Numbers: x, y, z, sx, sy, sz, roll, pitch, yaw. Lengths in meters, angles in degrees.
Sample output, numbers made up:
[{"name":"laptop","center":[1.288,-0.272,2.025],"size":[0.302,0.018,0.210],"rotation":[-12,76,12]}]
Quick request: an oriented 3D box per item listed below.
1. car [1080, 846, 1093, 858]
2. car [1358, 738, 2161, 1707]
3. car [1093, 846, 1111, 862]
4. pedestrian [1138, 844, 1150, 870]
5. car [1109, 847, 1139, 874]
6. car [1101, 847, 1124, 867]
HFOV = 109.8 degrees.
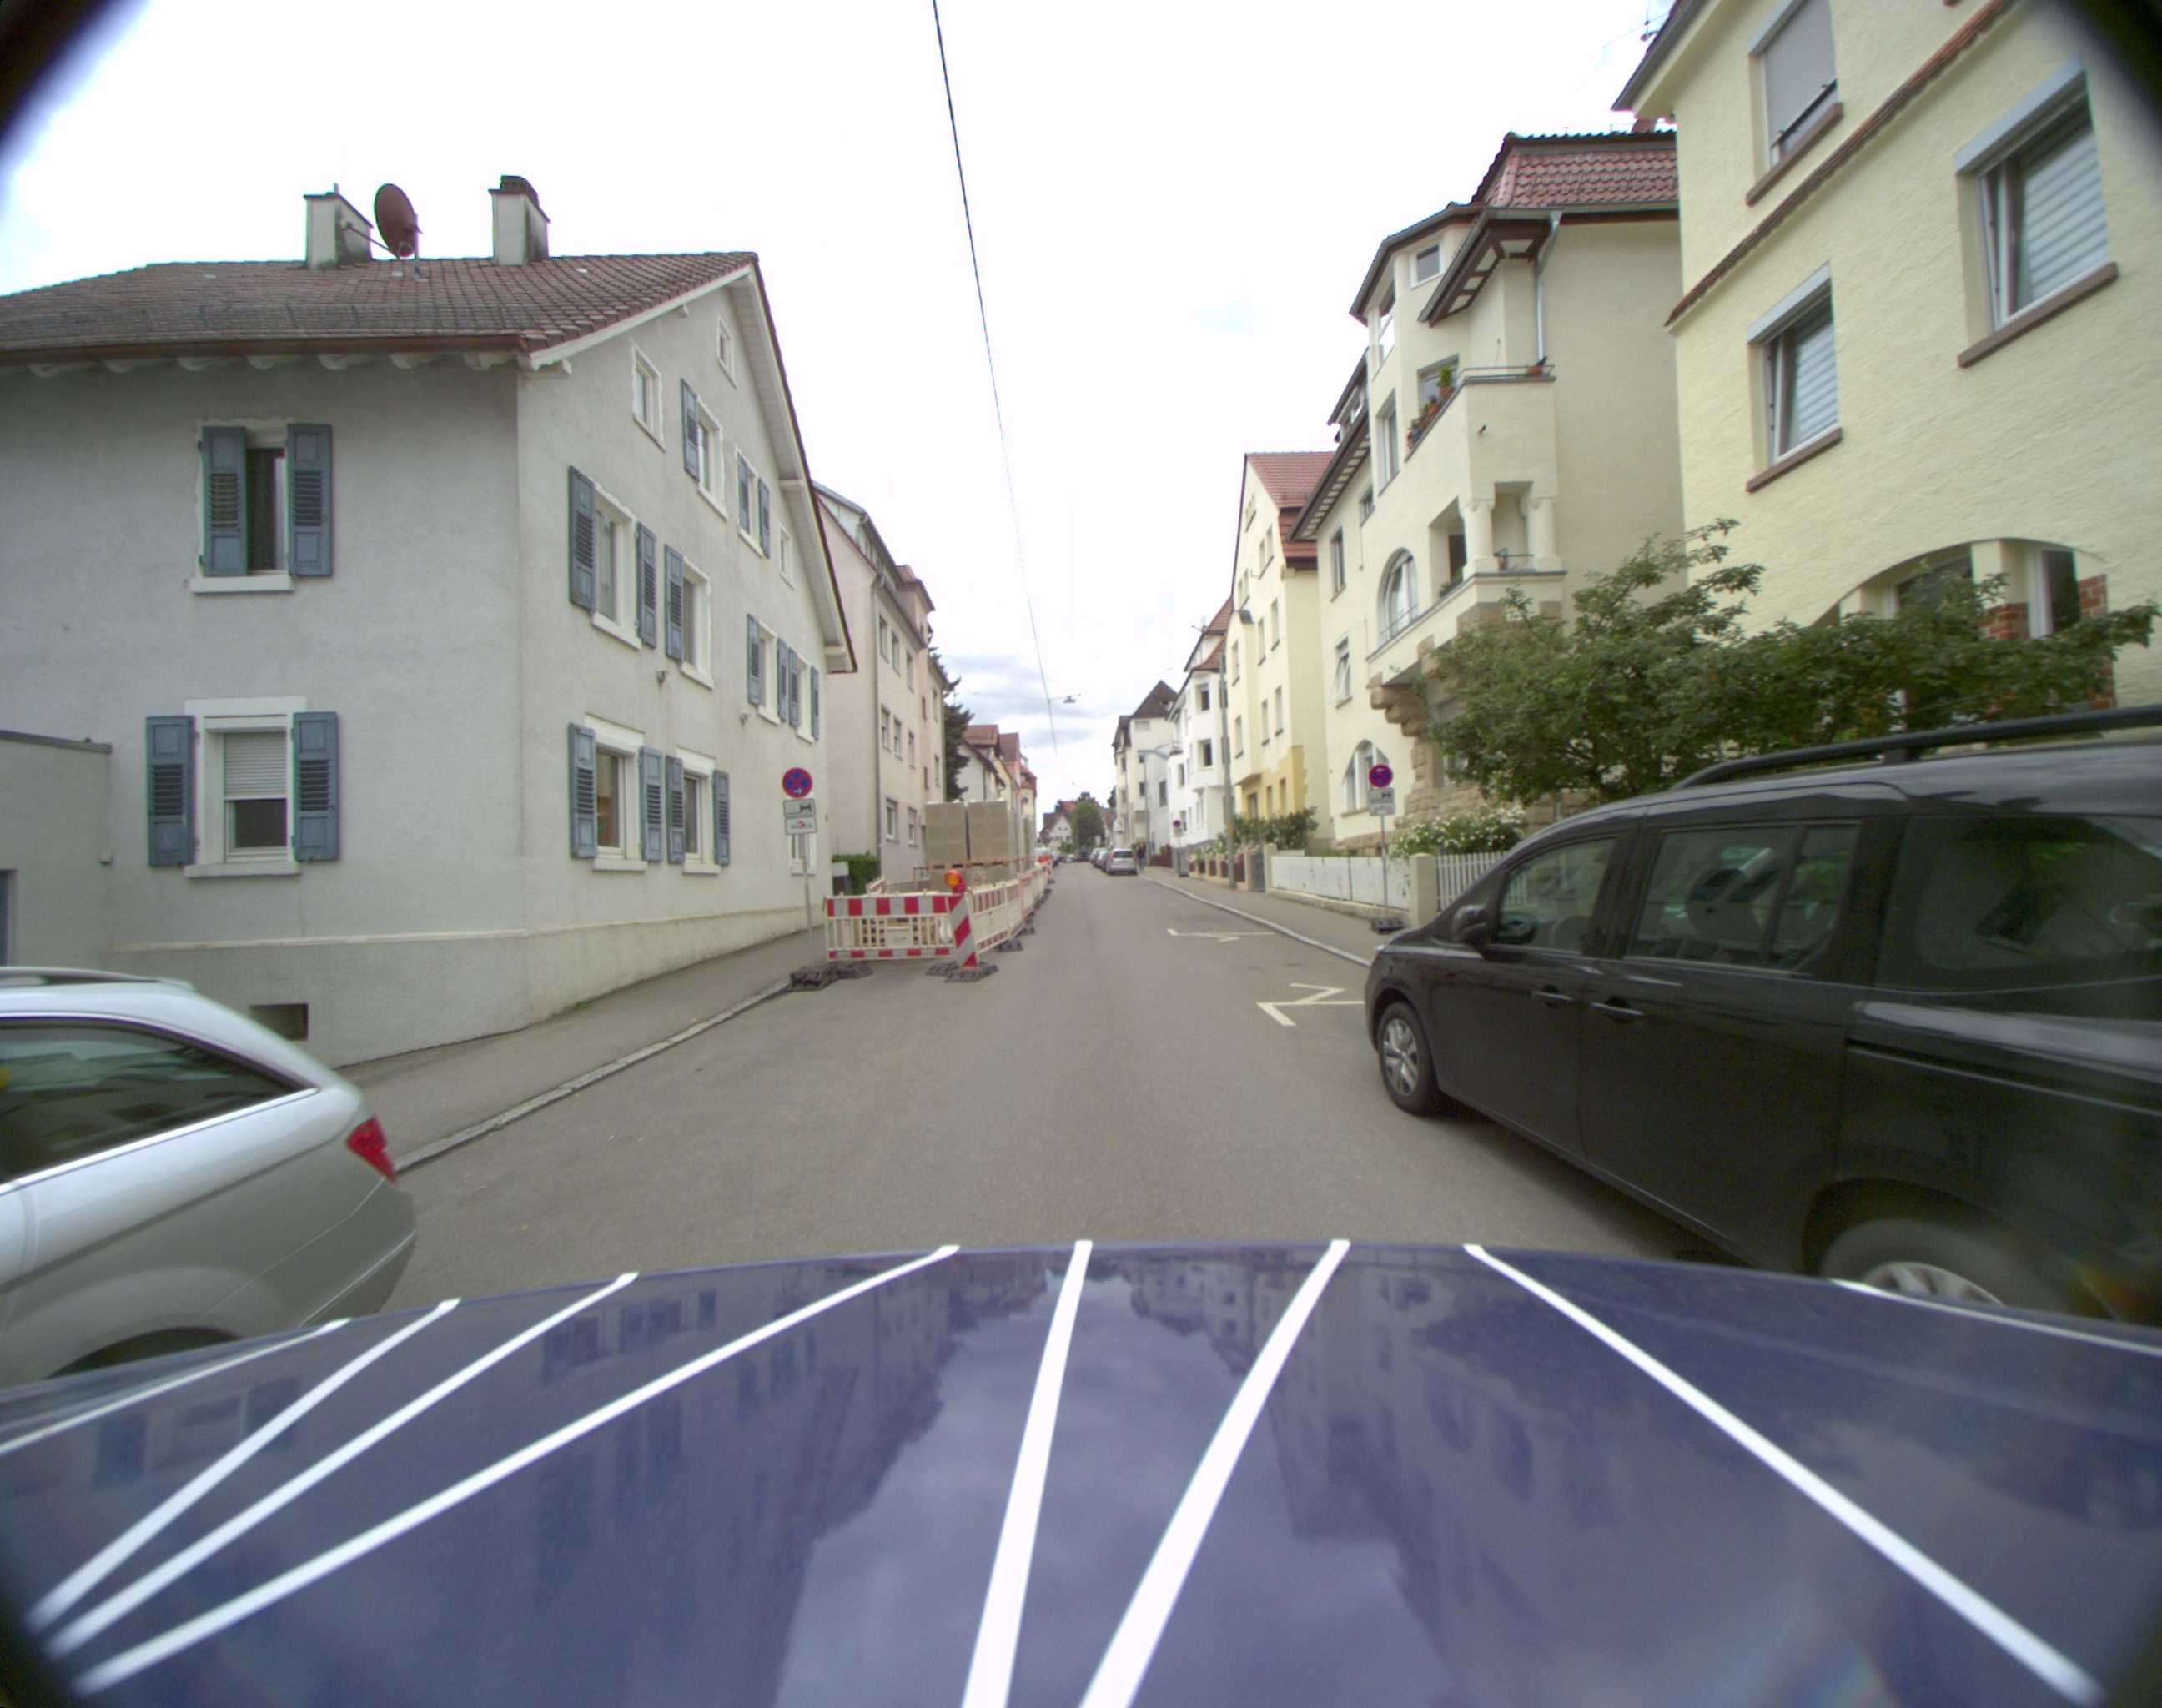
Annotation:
[{"name":"car","center":[0.808,-0.267,105.896],"size":[1.782,1.557,3.999],"rotation":[-2,1,1]},{"name":"car","center":[2.774,0.663,2.873],"size":[1.754,1.786,4.148],"rotation":[-1,0,-3]},{"name":"car","center":[2.170,-0.021,79.286],"size":[1.782,1.557,3.999],"rotation":[-2,1,1]},{"name":"pedestrian","center":[4.124,0.226,49.657],"size":[0.617,1.646,0.812],"rotation":[-3,0,1]},{"name":"car","center":[2.631,0.351,47.098],"size":[1.663,1.557,3.999],"rotation":[-2,1,1]},{"name":"car","center":[2.580,0.210,63.313],"size":[1.782,1.557,3.999],"rotation":[-2,1,1]}]
